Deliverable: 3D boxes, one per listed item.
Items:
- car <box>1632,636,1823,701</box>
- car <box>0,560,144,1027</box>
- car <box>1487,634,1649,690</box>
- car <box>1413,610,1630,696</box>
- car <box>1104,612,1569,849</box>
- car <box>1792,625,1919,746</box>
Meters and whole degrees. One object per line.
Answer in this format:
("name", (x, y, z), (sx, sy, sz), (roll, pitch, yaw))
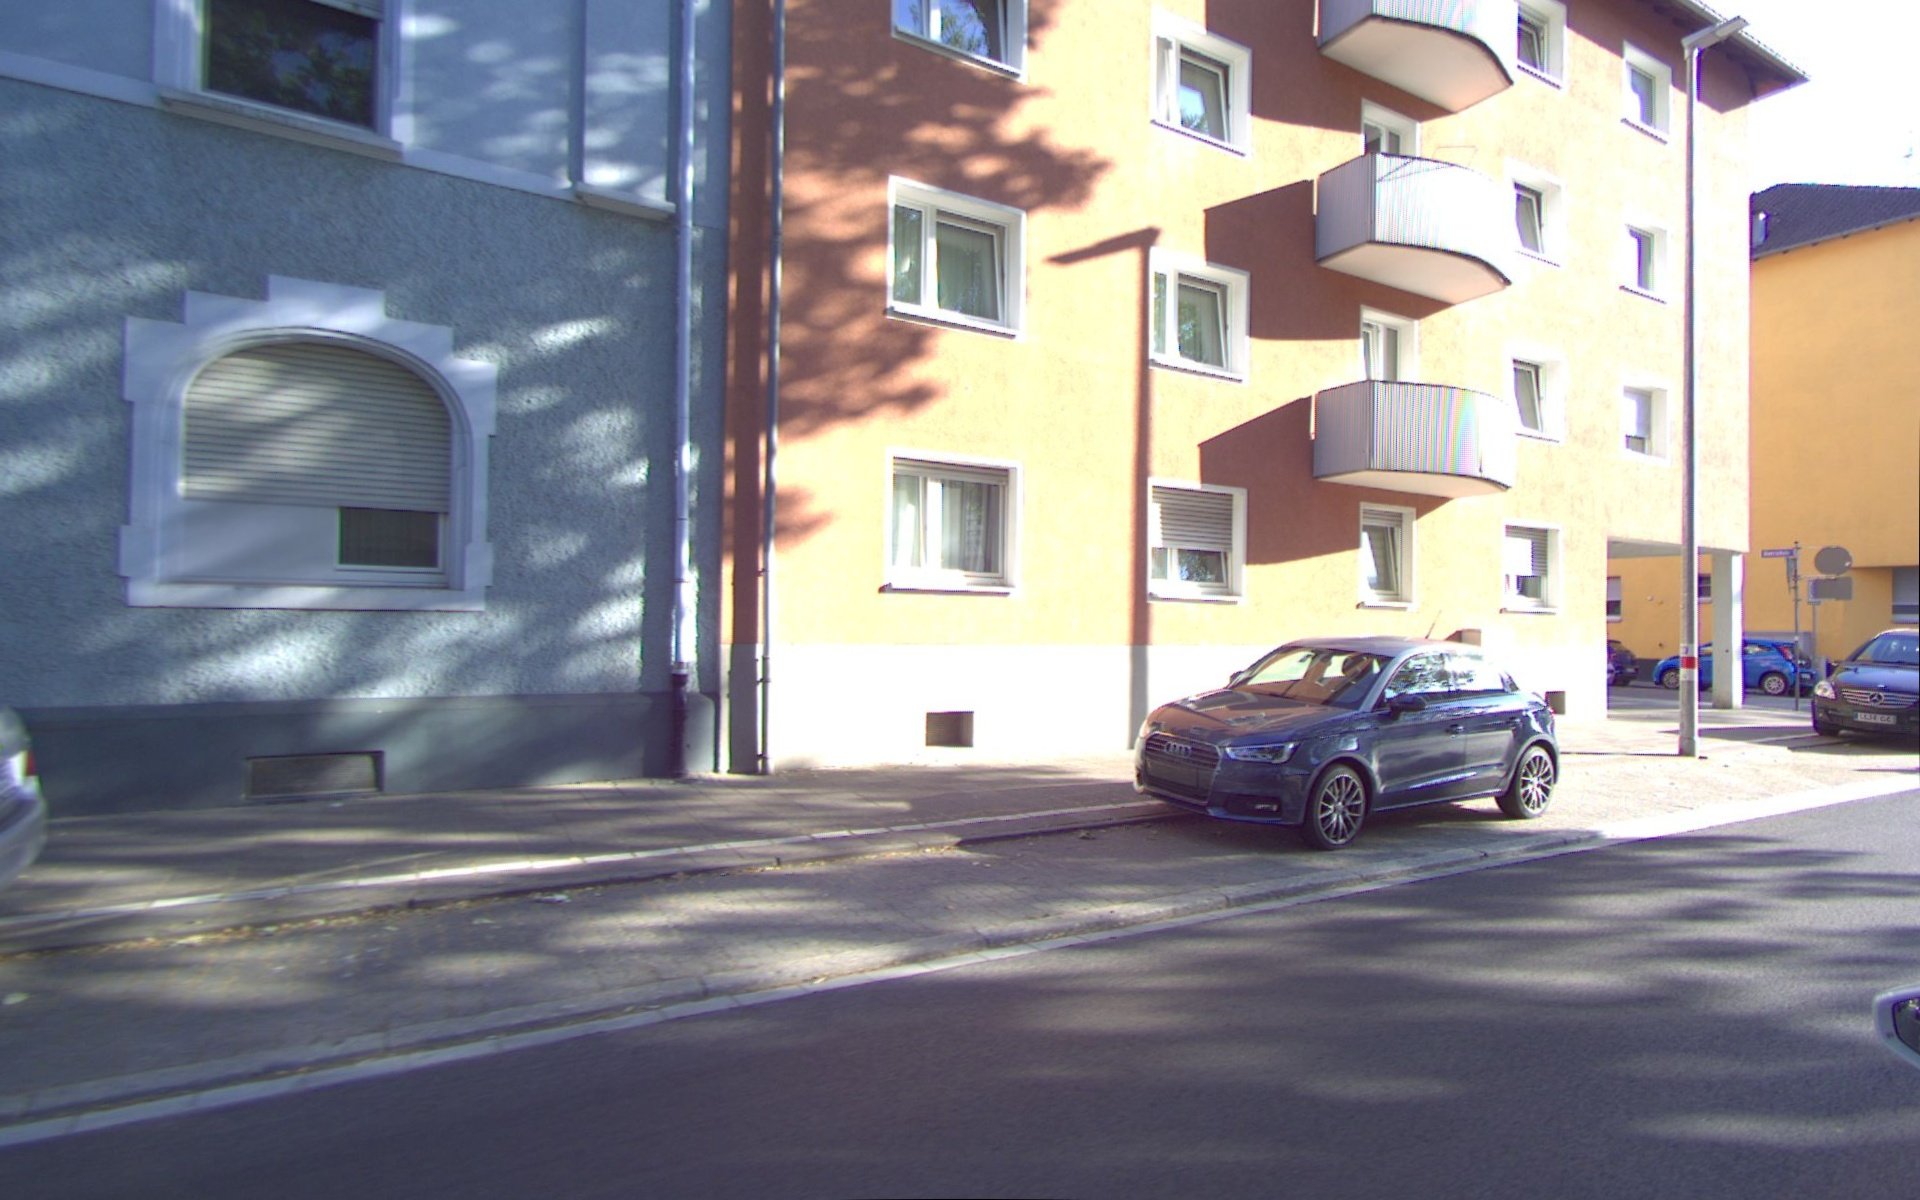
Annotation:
("car", (20.791, 1.805, 27.361), (1.728, 1.587, 3.767), (2, -2, -30))
("car", (-5.446, 0.634, 3.360), (3.937, 1.663, 1.670), (2, 0, -30))
("car", (18.712, 1.860, 31.097), (1.728, 1.587, 3.972), (2, -2, -30))
("car", (14.581, 1.340, 26.405), (1.896, 2.040, 4.727), (2, -2, -28))
("car", (3.102, 0.901, 8.158), (3.559, 1.506, 1.669), (2, 0, -31))
("car", (14.075, 1.183, 14.656), (3.973, 1.544, 1.670), (2, 0, -30))
